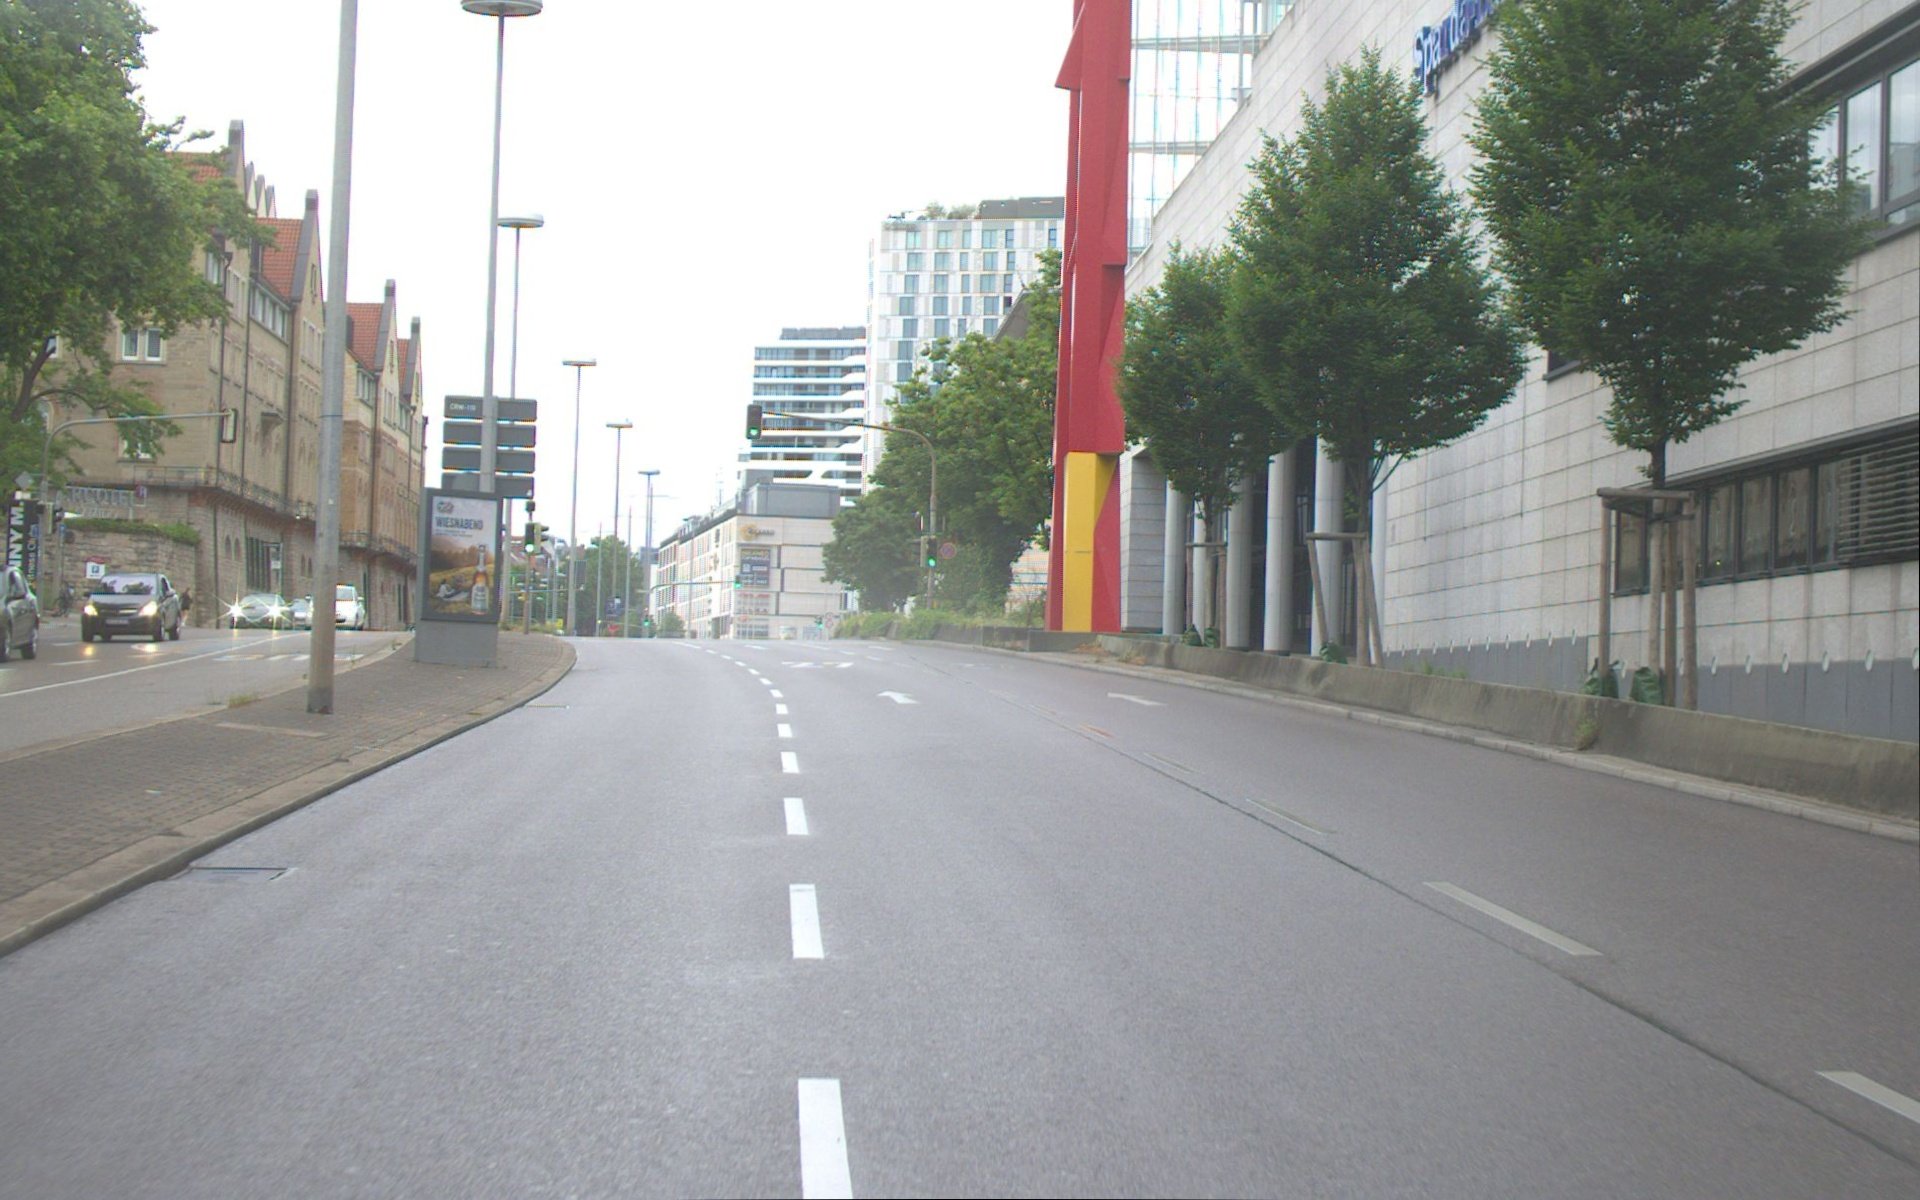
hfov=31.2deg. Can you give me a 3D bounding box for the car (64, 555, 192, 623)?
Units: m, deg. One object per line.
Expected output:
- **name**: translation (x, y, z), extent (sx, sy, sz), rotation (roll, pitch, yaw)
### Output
- **car**: translation (-17.809, -0.215, 73.736), extent (1.819, 1.398, 4.000), rotation (0, -1, -1)

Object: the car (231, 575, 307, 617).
- **car**: translation (-23.227, -0.125, 115.638), extent (1.819, 1.380, 4.000), rotation (0, -1, -1)

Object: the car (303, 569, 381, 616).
- **car**: translation (-19.796, -0.231, 110.235), extent (1.819, 1.463, 4.000), rotation (0, -1, -1)

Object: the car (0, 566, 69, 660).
- **car**: translation (-15.229, 0.219, 53.355), extent (1.819, 1.398, 4.000), rotation (0, -1, -1)

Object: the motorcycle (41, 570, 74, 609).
- **motorcycle**: translation (-30.190, -0.364, 114.992), extent (0.780, 1.252, 2.997), rotation (1, 1, -10)
